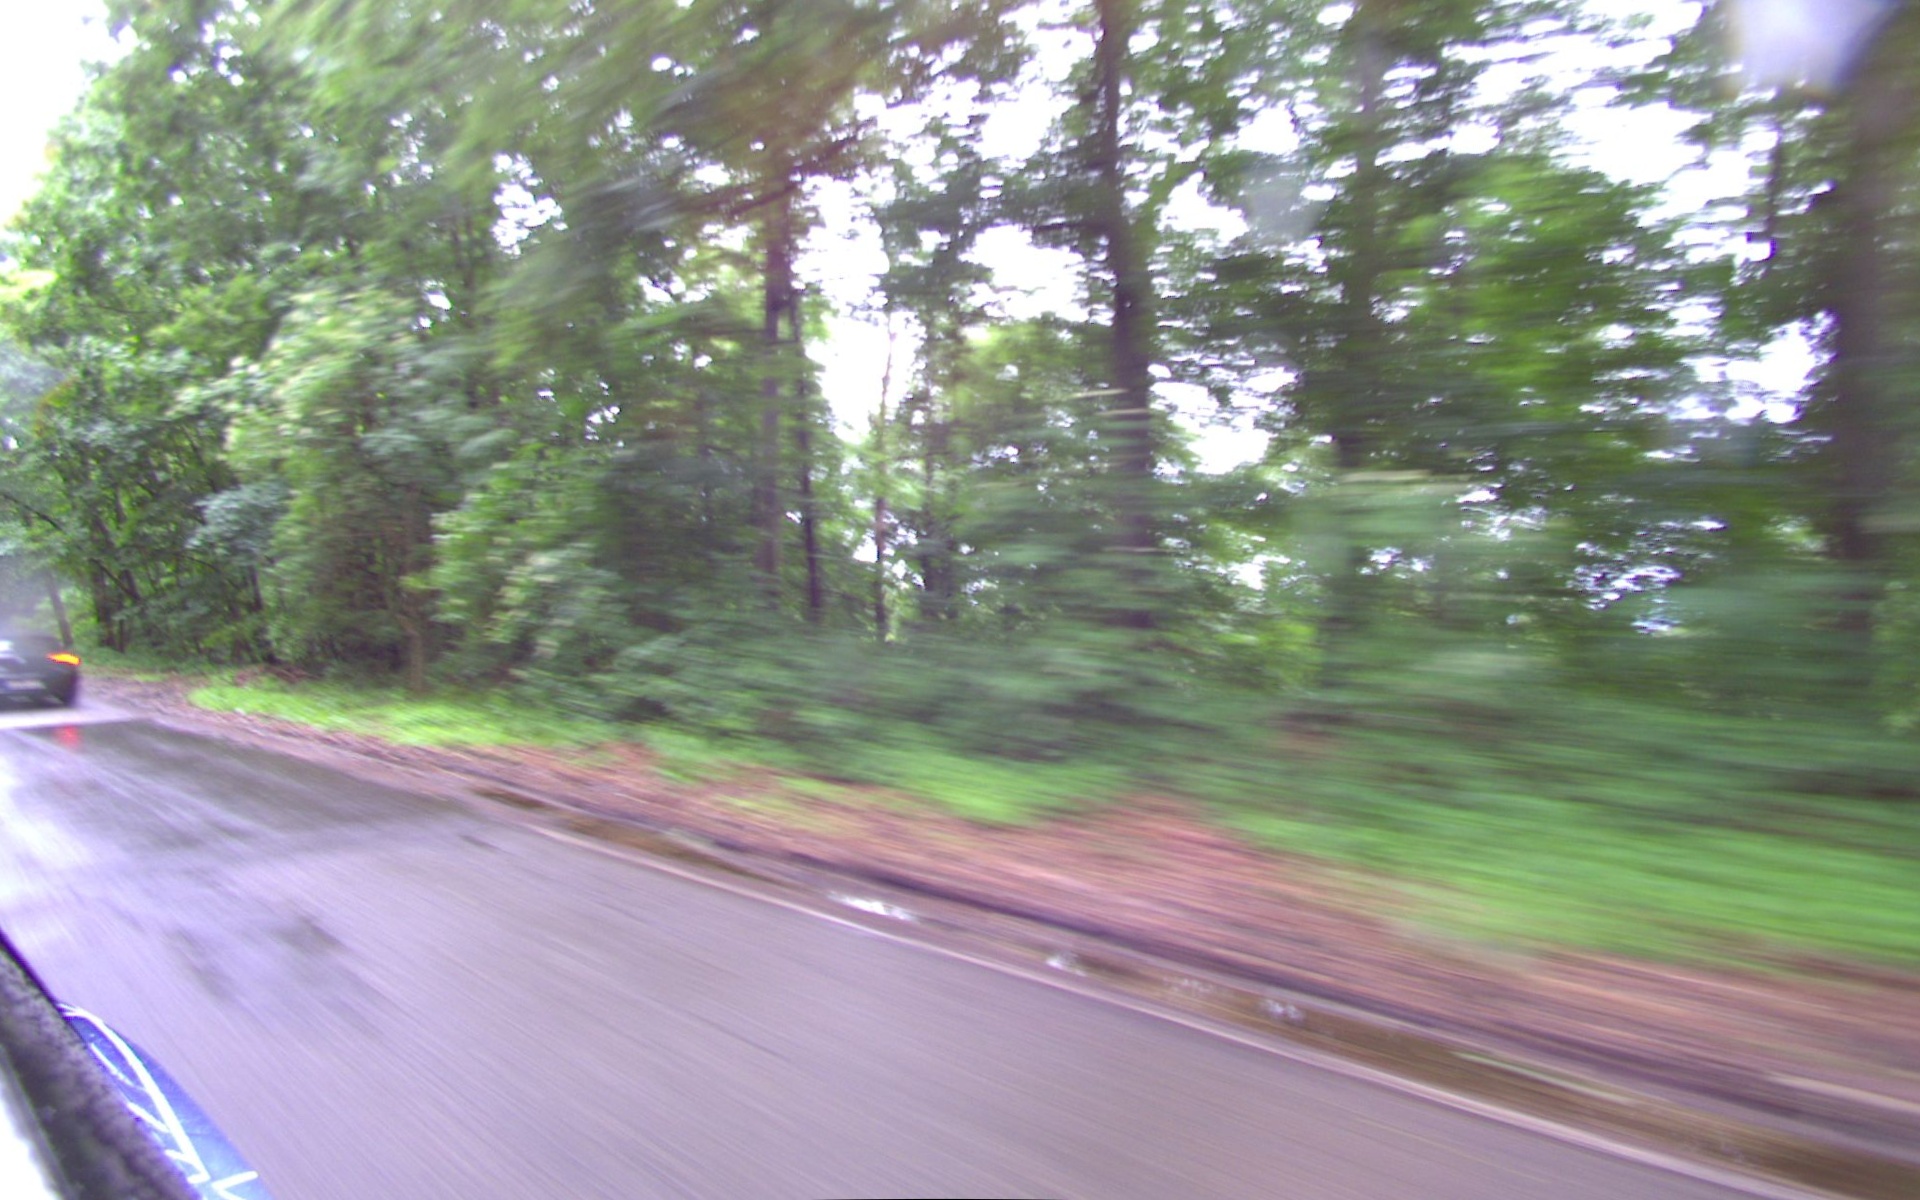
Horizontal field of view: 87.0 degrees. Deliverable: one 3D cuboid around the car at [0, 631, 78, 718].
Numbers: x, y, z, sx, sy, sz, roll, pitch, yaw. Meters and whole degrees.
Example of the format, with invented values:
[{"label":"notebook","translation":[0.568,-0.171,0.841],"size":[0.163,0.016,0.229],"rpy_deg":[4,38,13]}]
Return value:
[{"label":"car","translation":[-18.084,1.344,18.979],"size":[3.886,1.486,1.697],"rpy_deg":[-2,-1,39]}]
